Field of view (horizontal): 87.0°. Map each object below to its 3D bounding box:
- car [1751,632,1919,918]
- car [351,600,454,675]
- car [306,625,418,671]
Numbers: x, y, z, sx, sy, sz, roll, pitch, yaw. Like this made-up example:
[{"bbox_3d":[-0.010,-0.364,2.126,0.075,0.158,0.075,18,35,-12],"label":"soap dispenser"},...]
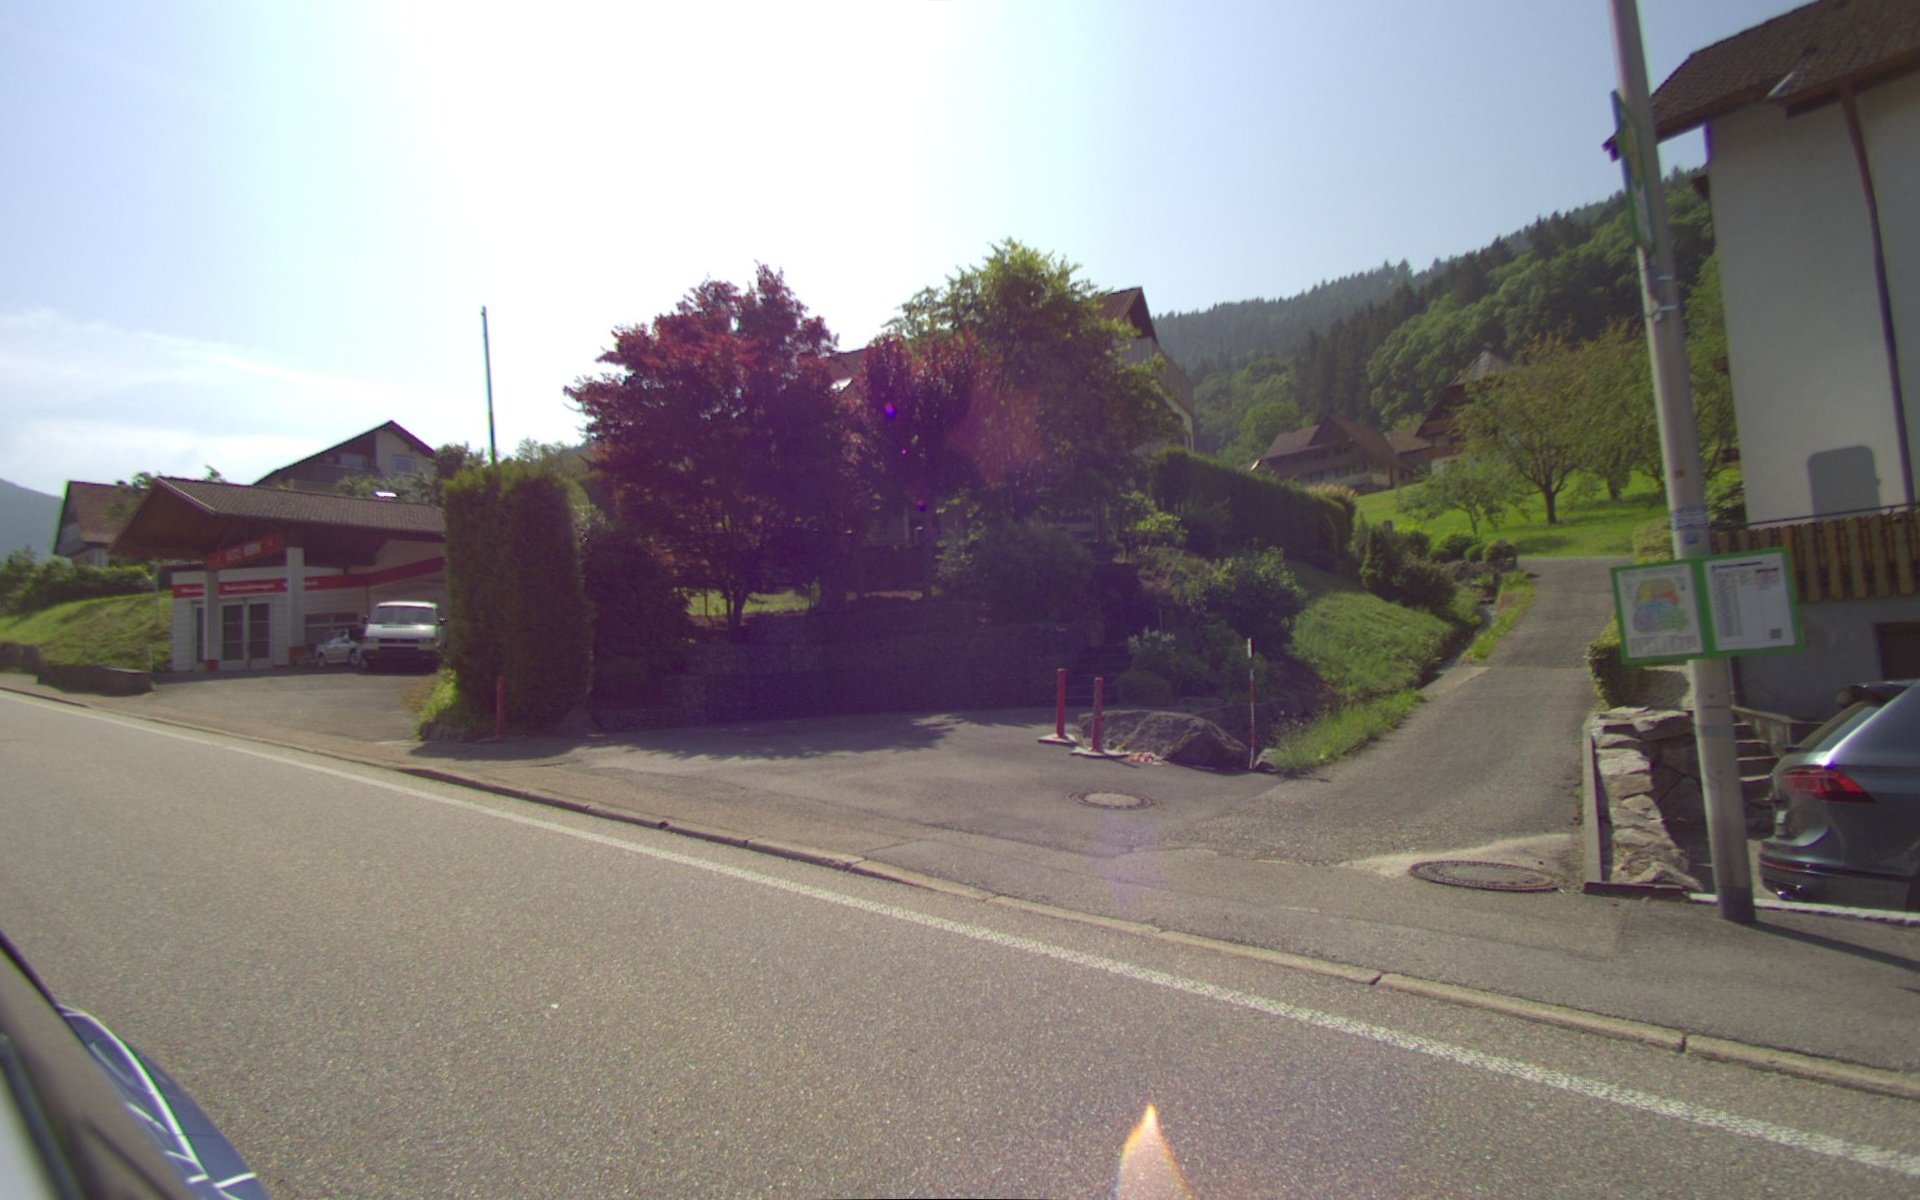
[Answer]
[{"bbox_3d":[6.558,0.819,4.495,4.686,1.349,1.766,-2,-2,36],"label":"car"},{"bbox_3d":[-16.109,1.026,29.485,1.992,1.944,4.793,3,-1,-22],"label":"car"},{"bbox_3d":[-20.625,1.664,34.840,4.338,1.424,1.939,-4,-4,39],"label":"car"}]
